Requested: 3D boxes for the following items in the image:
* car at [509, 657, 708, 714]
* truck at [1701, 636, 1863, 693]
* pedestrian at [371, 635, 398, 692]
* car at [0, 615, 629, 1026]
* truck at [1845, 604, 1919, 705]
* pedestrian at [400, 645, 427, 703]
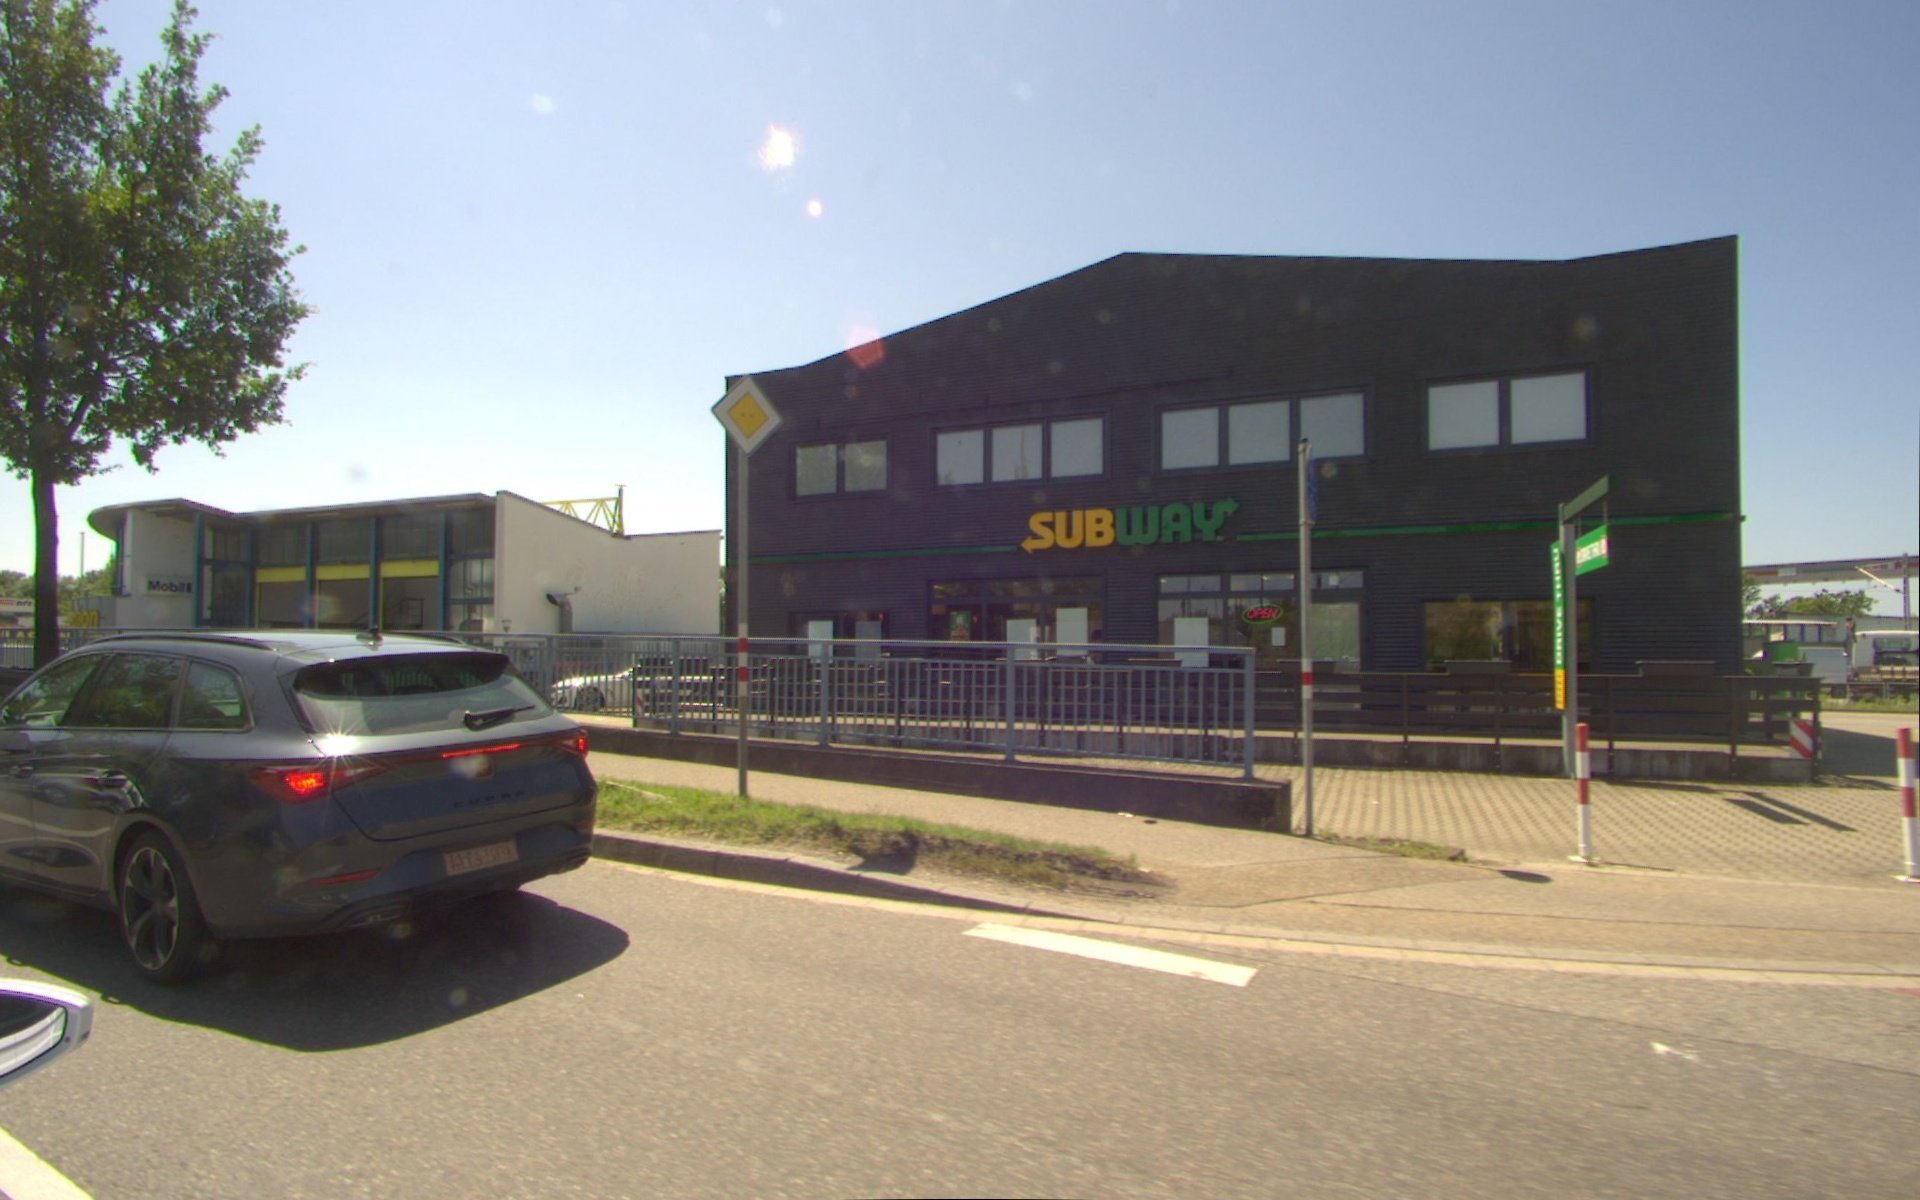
[{"bbox_3d":[-9.718,2.314,27.763,5.006,1.375,1.992,1,-2,-27],"label":"car"},{"bbox_3d":[42.499,3.303,51.941,5.991,2.825,2.652,0,-2,5],"label":"truck"},{"bbox_3d":[-17.553,1.923,30.562,0.480,1.724,0.521,0,-1,25],"label":"pedestrian"},{"bbox_3d":[-3.868,0.847,5.317,4.170,1.474,1.604,-1,-2,29],"label":"car"},{"bbox_3d":[34.723,2.010,37.198,2.692,3.423,7.343,-1,-3,42],"label":"truck"},{"bbox_3d":[-16.684,2.249,30.568,0.580,1.724,0.426,0,-1,24],"label":"pedestrian"}]
